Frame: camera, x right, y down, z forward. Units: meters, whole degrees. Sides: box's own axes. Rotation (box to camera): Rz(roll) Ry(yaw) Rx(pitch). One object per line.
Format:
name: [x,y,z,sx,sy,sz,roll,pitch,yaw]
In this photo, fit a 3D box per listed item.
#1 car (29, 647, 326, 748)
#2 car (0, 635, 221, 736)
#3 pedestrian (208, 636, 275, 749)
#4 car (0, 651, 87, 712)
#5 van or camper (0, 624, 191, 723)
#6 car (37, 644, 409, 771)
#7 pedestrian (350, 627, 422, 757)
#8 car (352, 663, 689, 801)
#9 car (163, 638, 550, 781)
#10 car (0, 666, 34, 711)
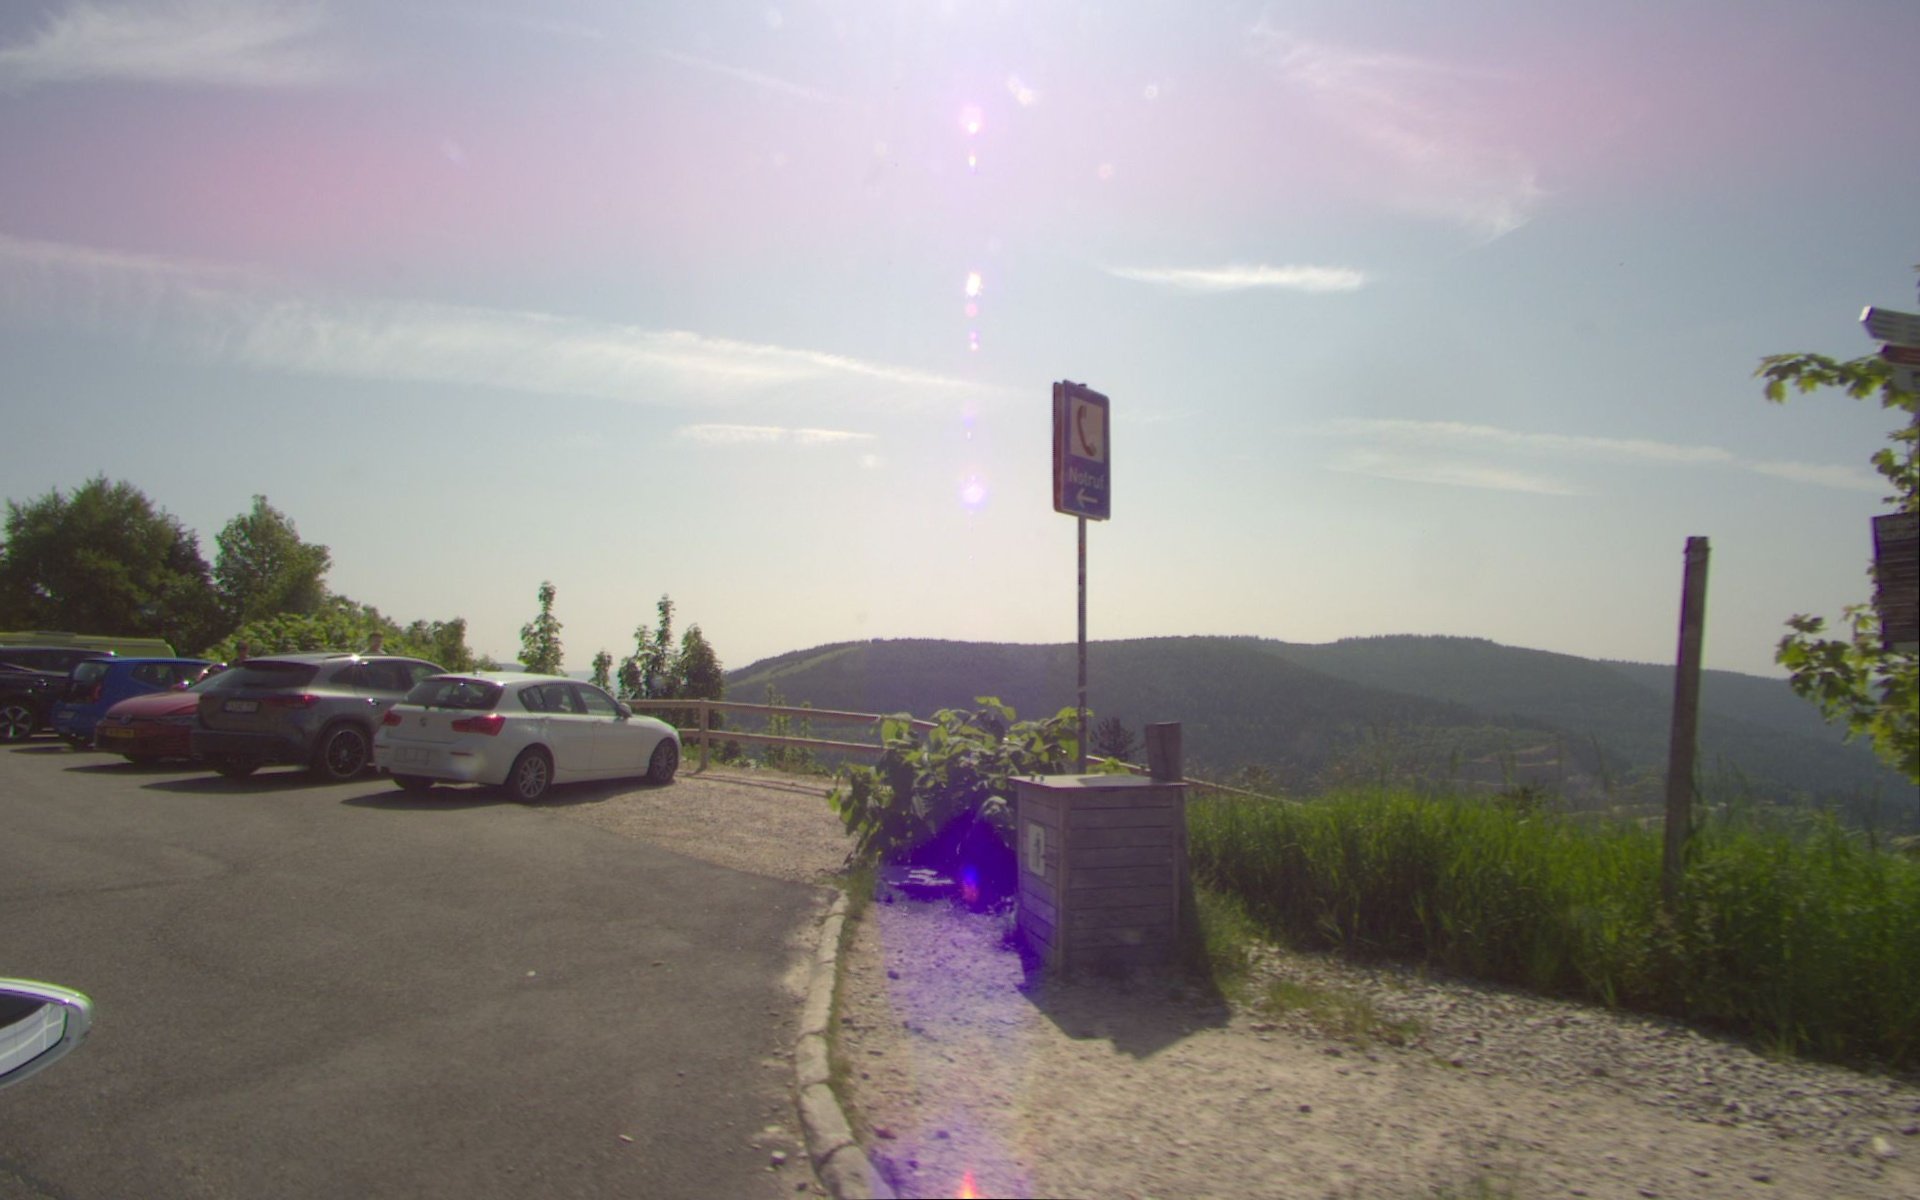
car: [-13.265,1.687,17.215,1.622,1.513,3.585,0,-6,27]
car: [-15.905,1.513,17.815,1.883,1.632,3.997,0,-5,21]
pedestrian: [-11.399,1.470,15.899,0.556,1.744,0.505,0,-5,14]
car: [-27.642,2.284,28.339,1.855,1.668,4.194,0,-7,6]
van or camper: [-20.408,1.629,22.030,1.853,2.036,5.096,0,-7,28]
car: [-10.392,1.531,14.548,1.809,1.527,4.001,1,-5,17]
pedestrian: [-8.800,1.409,15.353,0.669,1.921,0.608,-2,-6,32]
car: [-5.235,1.593,12.593,1.627,1.401,4.001,0,-6,17]
car: [-7.942,1.477,13.793,1.873,1.586,4.413,1,-5,16]
car: [-32.697,2.815,32.314,1.858,1.477,4.060,1,-7,-2]
